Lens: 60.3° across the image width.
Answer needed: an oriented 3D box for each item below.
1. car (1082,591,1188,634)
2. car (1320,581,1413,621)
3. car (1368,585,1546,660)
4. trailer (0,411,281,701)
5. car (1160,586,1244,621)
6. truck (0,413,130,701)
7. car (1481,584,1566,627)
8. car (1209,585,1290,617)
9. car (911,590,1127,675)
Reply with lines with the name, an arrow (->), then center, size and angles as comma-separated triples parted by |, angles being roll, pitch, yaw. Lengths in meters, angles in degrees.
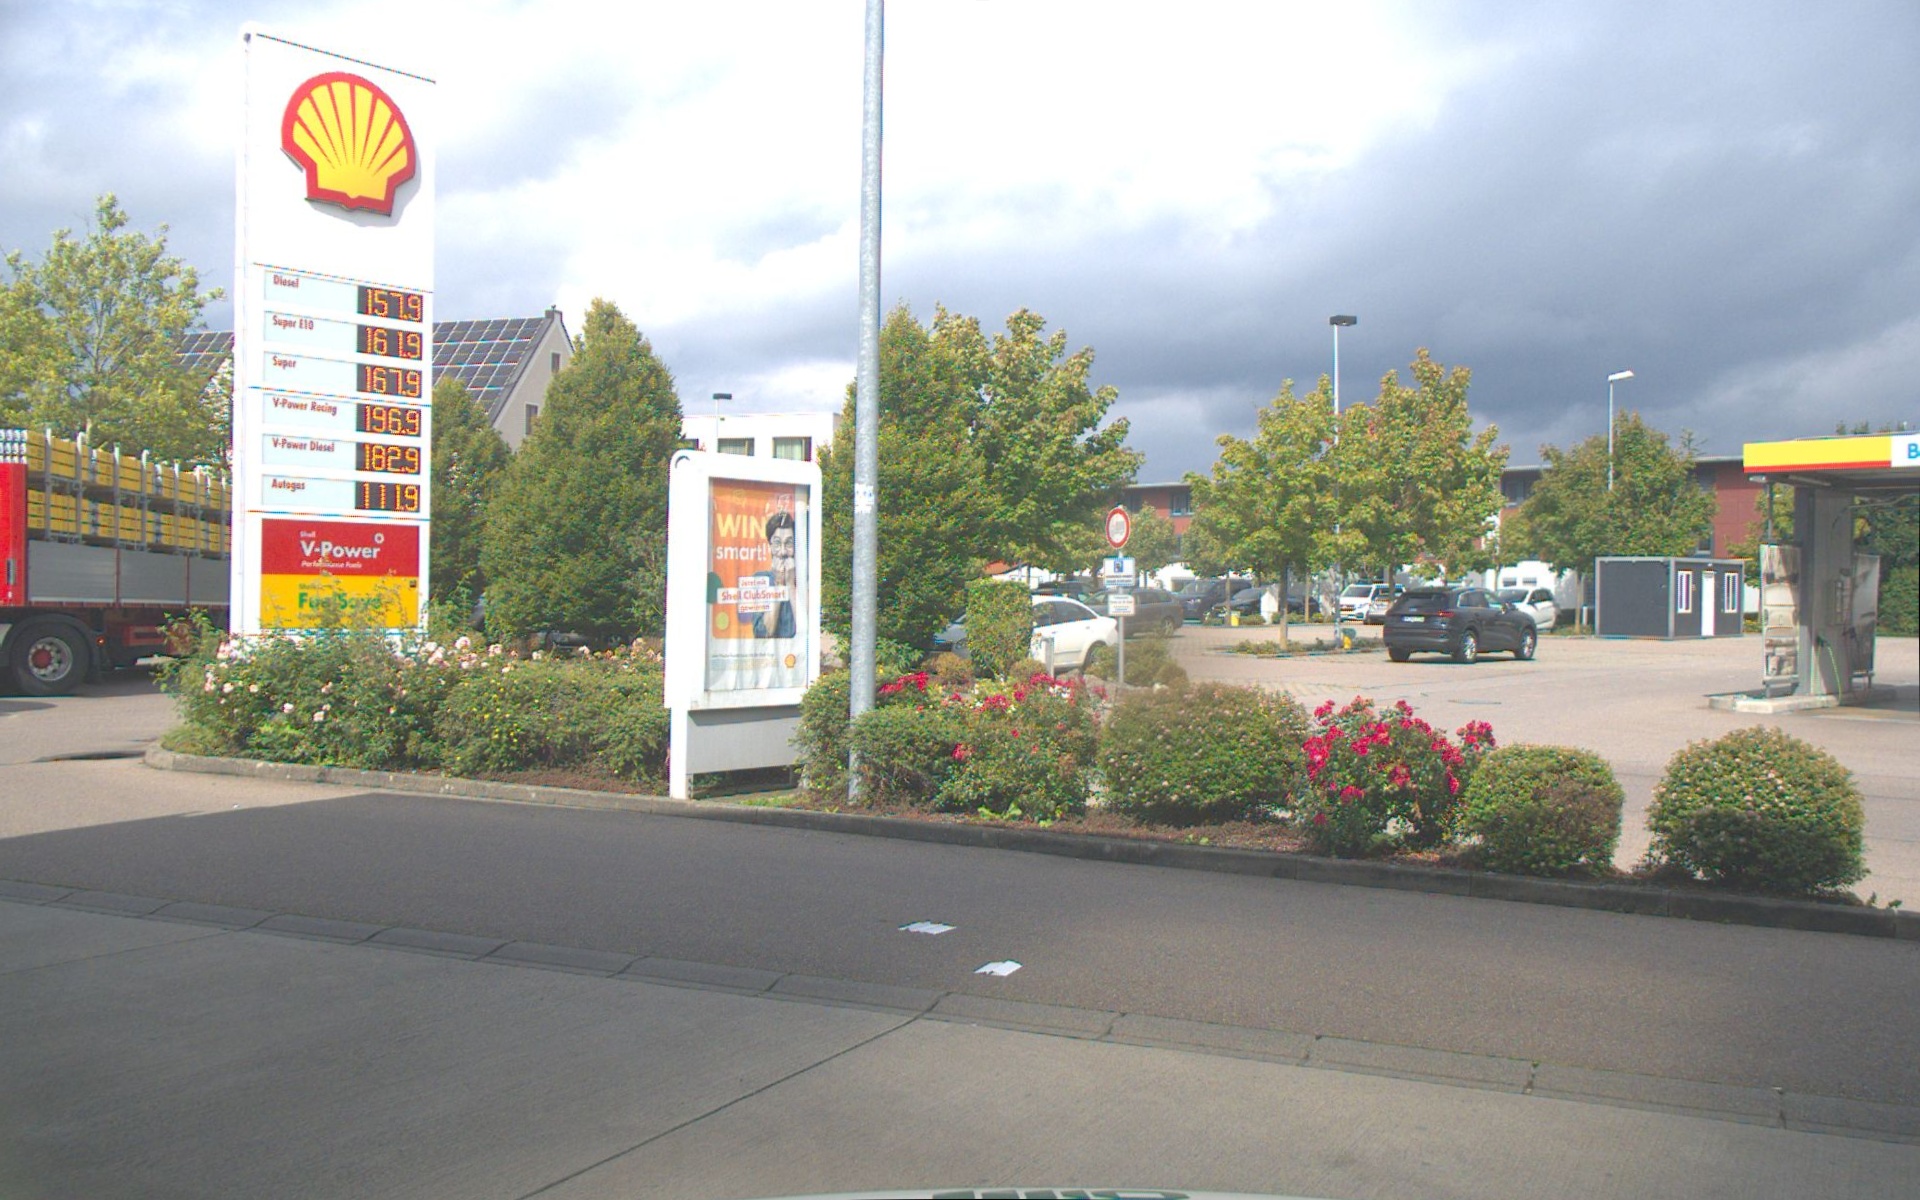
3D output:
car -> 5.288, 0.375, 49.805 | 3.203, 1.249, 1.481 | 1, 0, -45
car -> 19.927, 0.047, 80.957 | 4.839, 1.865, 2.150 | 1, 0, -44
car -> 11.138, 0.495, 36.906 | 4.467, 1.575, 1.856 | 1, 0, -44
trailer -> -14.517, -0.589, 28.073 | 2.680, 3.842, 12.684 | 1, 0, -9
car -> 9.822, 0.154, 66.945 | 3.364, 1.343, 1.719 | 1, 0, -45
truck -> -14.873, -0.620, 22.411 | 2.691, 3.913, 5.885 | 1, -1, 41
car -> 18.017, 0.181, 52.818 | 3.080, 1.330, 1.346 | 1, -1, -45
car -> 11.423, 0.051, 65.222 | 3.393, 1.199, 1.462 | 1, 0, -45
car -> 1.140, 0.584, 29.950 | 1.348, 1.428, 4.312 | 1, -1, 45
